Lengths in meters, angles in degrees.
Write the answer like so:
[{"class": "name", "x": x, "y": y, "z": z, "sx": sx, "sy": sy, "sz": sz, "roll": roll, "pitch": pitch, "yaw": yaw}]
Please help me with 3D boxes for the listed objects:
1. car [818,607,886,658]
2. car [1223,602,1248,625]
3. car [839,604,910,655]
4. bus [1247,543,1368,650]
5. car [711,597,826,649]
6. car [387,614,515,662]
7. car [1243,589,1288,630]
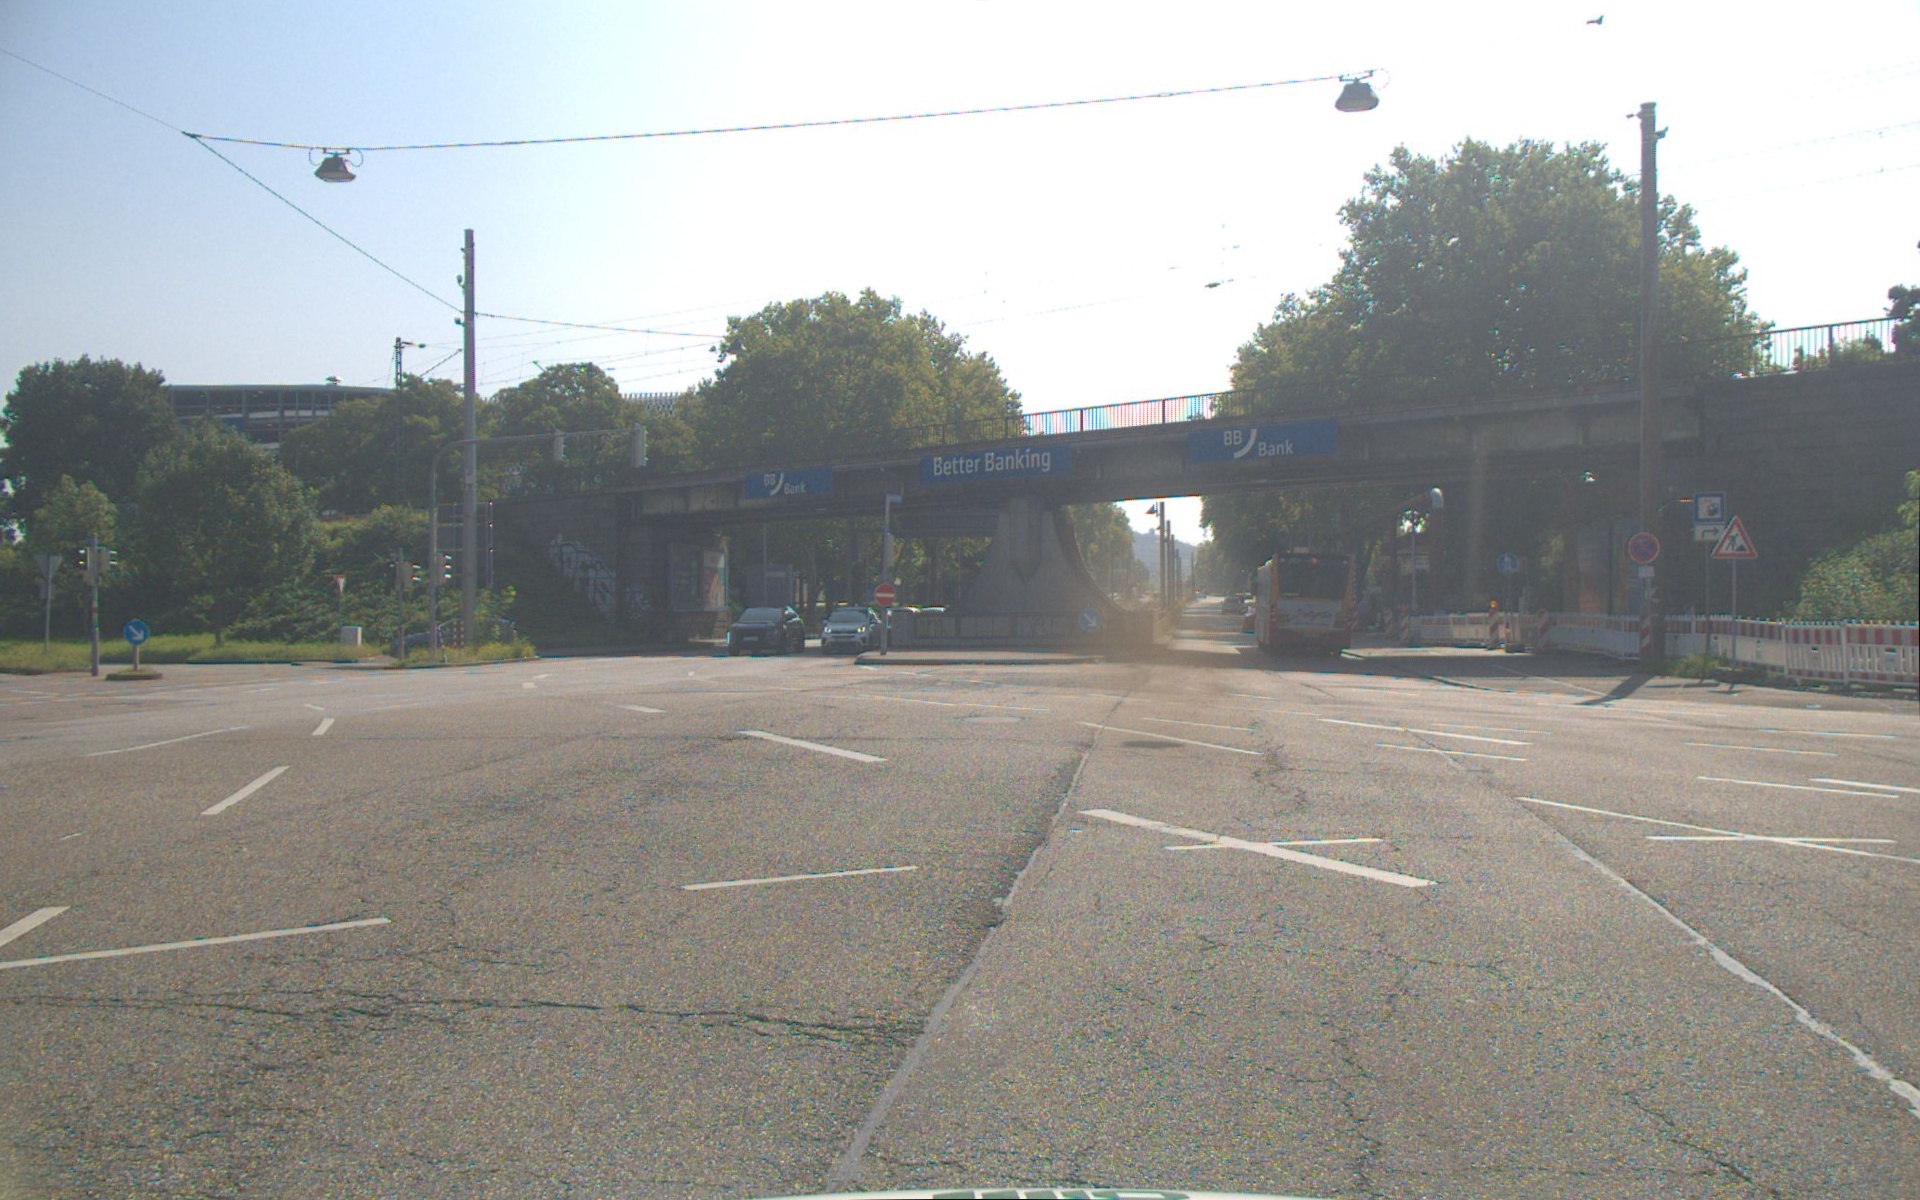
[{"class": "car", "x": -3.496, "y": 1.035, "z": 54.166, "sx": 1.685, "sy": 1.565, "sz": 3.698, "roll": -1, "pitch": -1, "yaw": 4}, {"class": "car", "x": 25.303, "y": 1.250, "z": 152.004, "sx": 1.951, "sy": 2.049, "sz": 4.002, "roll": 2, "pitch": 0, "yaw": 5}, {"class": "car", "x": -2.991, "y": 1.014, "z": 58.825, "sx": 1.951, "sy": 1.600, "sz": 4.351, "roll": 0, "pitch": 2, "yaw": 4}, {"class": "bus", "x": 11.426, "y": -0.078, "z": 55.492, "sx": 3.068, "sy": 3.168, "sz": 12.299, "roll": 1, "pitch": 0, "yaw": 8}, {"class": "car", "x": -6.382, "y": 0.749, "z": 55.645, "sx": 1.863, "sy": 1.645, "sz": 4.473, "roll": -2, "pitch": -1, "yaw": 23}, {"class": "car", "x": -17.270, "y": 1.290, "z": 56.124, "sx": 3.937, "sy": 1.453, "sz": 1.772, "roll": 2, "pitch": 0, "yaw": -26}, {"class": "car", "x": 16.257, "y": 0.489, "z": 88.239, "sx": 1.951, "sy": 2.049, "sz": 4.002, "roll": 2, "pitch": 0, "yaw": 5}]
